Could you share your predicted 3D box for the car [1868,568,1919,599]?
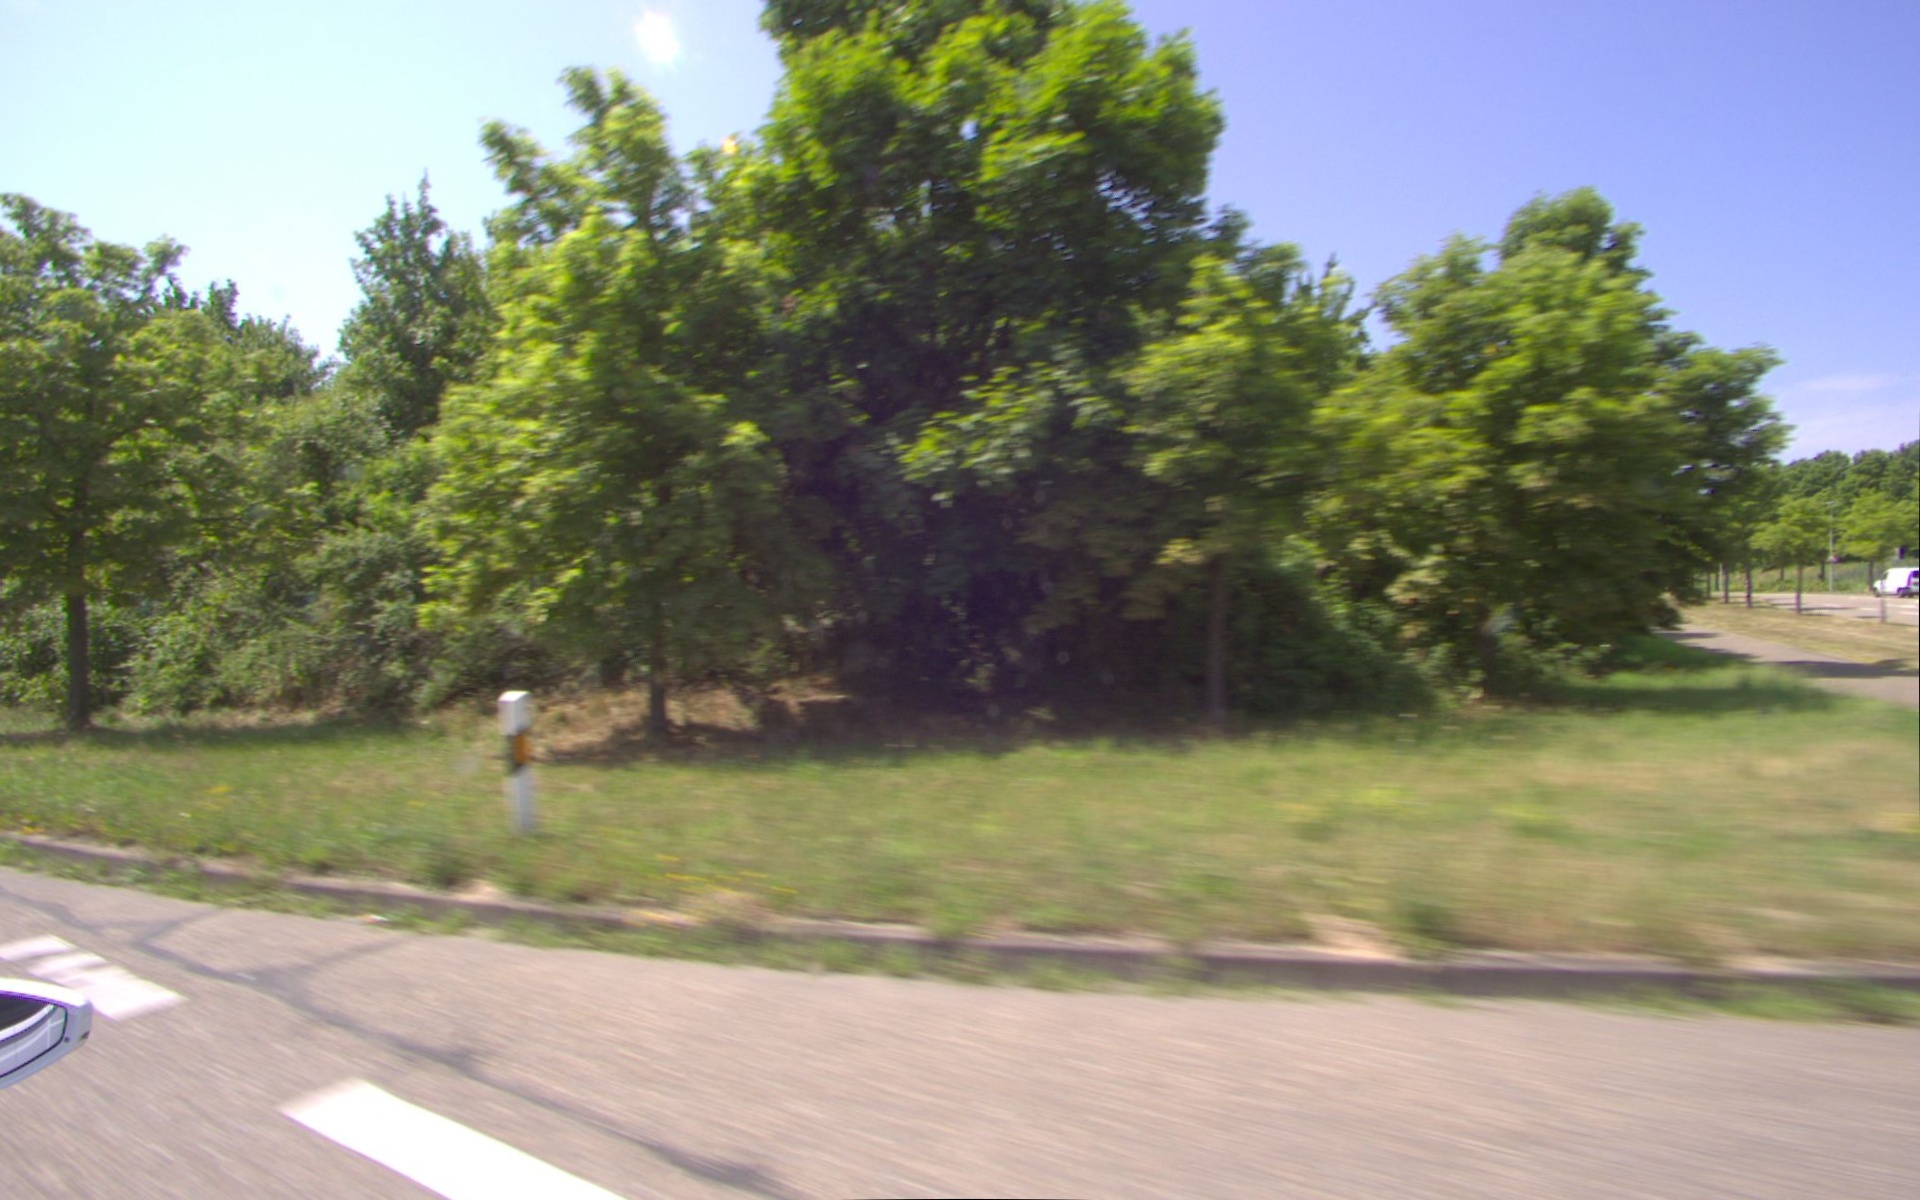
[{"bbox_3d":[59.057,-1.044,62.363,1.833,1.843,4.897,0,1,19],"label":"car"}]
